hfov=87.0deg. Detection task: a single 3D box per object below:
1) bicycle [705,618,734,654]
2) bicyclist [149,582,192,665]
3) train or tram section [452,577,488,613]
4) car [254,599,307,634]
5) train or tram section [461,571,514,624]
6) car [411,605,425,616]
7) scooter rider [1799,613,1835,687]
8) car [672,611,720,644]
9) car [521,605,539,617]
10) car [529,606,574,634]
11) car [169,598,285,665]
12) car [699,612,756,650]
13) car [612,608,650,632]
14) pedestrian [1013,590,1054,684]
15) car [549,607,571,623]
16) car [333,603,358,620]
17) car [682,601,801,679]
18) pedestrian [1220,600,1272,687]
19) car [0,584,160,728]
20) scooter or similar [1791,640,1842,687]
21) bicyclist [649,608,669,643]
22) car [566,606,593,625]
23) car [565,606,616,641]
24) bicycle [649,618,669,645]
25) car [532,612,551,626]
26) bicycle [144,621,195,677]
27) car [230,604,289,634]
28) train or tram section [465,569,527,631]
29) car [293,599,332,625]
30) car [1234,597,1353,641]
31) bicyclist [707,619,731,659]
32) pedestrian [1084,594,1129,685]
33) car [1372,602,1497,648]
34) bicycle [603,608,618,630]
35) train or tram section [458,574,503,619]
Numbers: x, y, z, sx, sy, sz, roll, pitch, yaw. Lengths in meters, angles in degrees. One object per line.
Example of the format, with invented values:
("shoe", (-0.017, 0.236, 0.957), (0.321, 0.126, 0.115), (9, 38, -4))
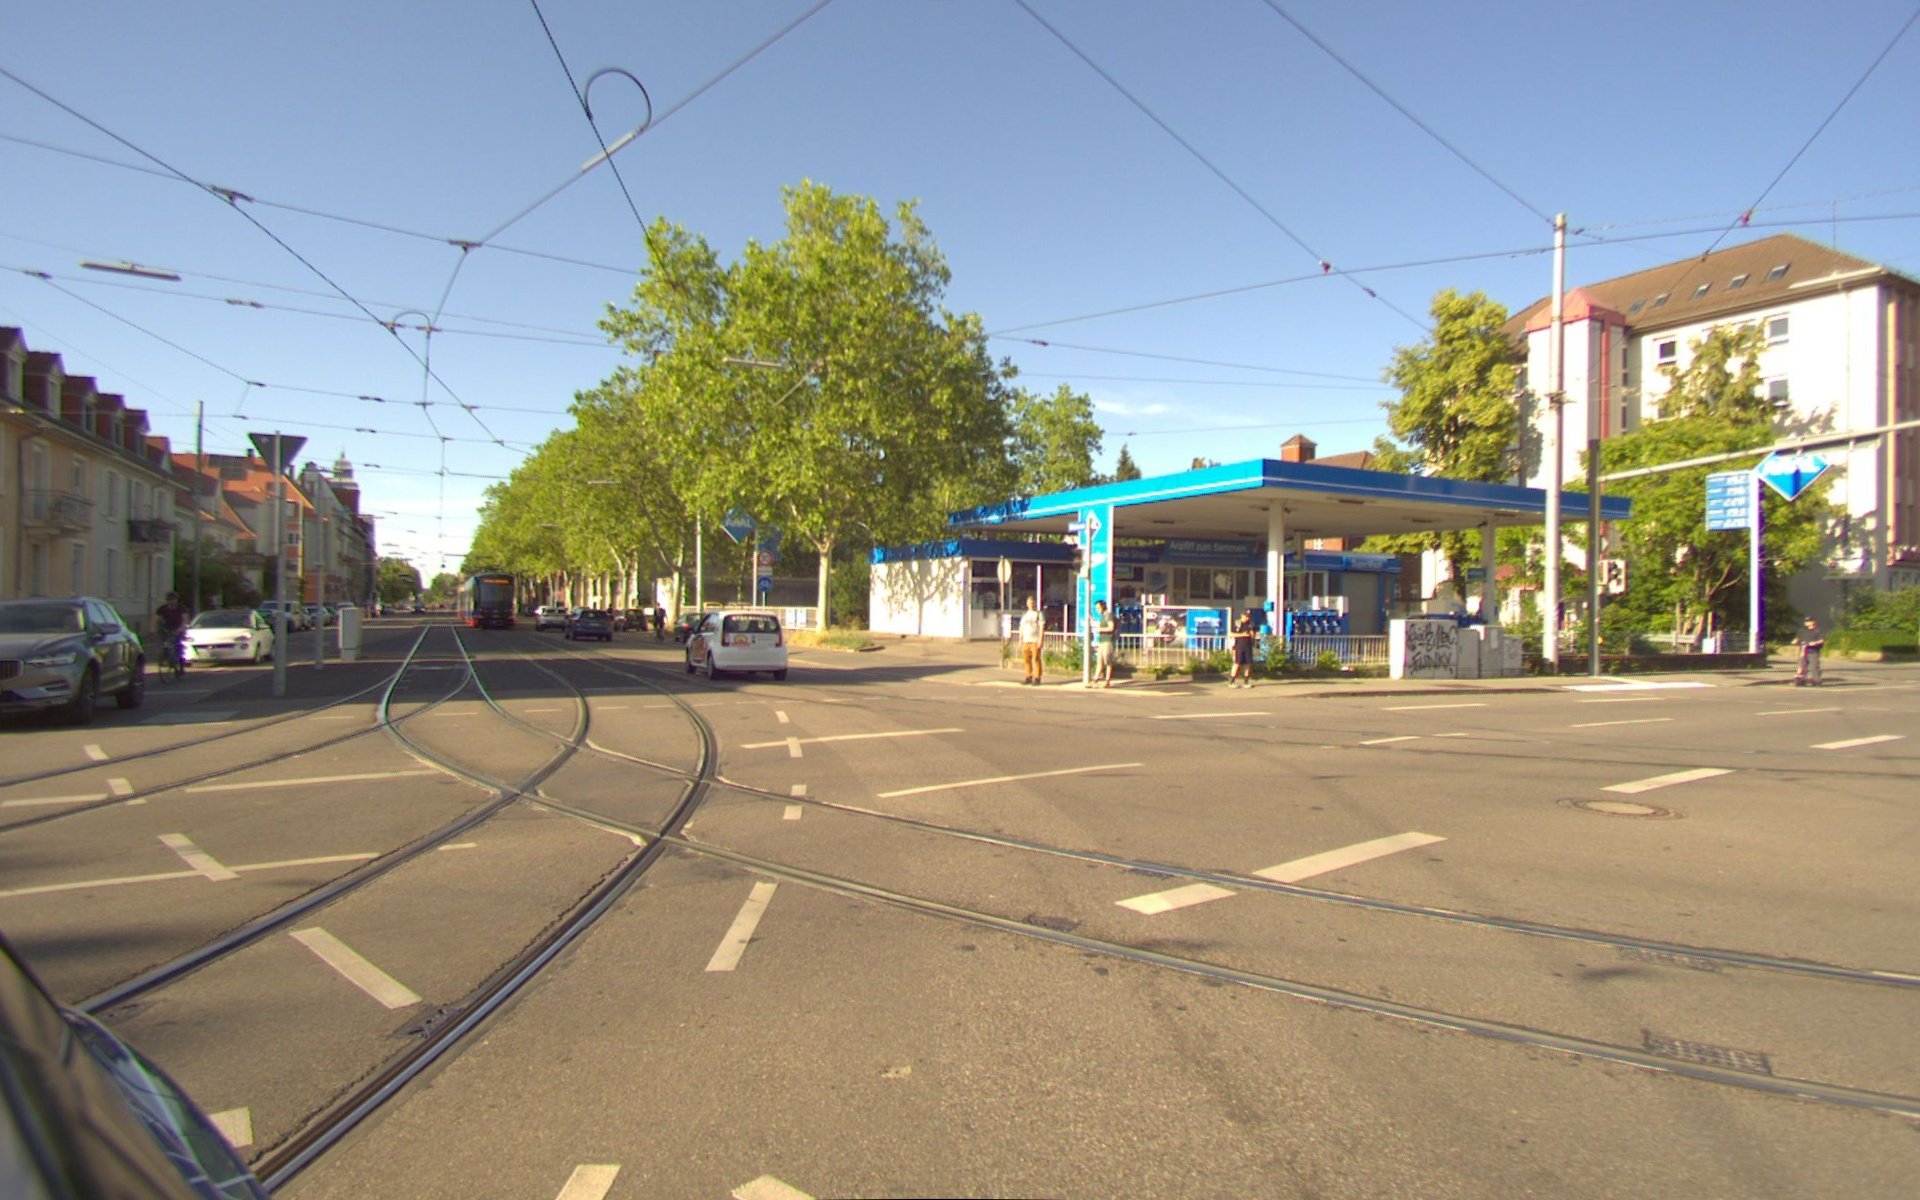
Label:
("bicycle", (-8.410, 1.254, 35.296), (0.478, 1.174, 1.964), (2, 0, -28))
("bicyclist", (-16.662, 0.488, 21.363), (0.590, 1.732, 0.664), (2, 0, -31))
("train or tram section", (-52.879, -0.576, 109.045), (3.012, 3.640, 11.989), (2, 0, -28))
("car", (-39.953, 0.942, 59.612), (1.901, 1.859, 5.331), (2, 0, -26))
("train or tram section", (-35.967, -0.188, 76.715), (3.012, 3.640, 12.543), (2, 0, -27))
("car", (-85.975, 1.661, 160.450), (1.851, 1.497, 4.013), (2, 0, -29))
("scooter rider", (22.736, 1.315, 26.847), (0.680, 1.915, 0.466), (2, 0, -26))
("car", (-12.874, 1.314, 49.289), (1.750, 1.435, 3.322), (-2, 1, -23))
("car", (-60.701, 1.593, 142.776), (1.851, 1.563, 4.012), (2, 0, -30))
("car", (-25.070, 1.195, 62.025), (1.965, 1.508, 4.361), (4, -1, -28))
("car", (-19.993, 0.808, 27.802), (1.886, 1.643, 4.517), (2, 0, -27))
("car", (-10.028, 1.280, 43.519), (1.750, 1.435, 3.550), (-2, 1, -23))
("car", (-21.865, 1.319, 67.172), (1.851, 1.497, 4.013), (2, 0, -26))
("pedestrian", (1.555, 0.773, 21.448), (0.620, 1.940, 0.586), (2, 0, -27))
("car", (-41.742, 1.573, 105.609), (1.851, 1.563, 4.013), (2, 0, -26))
("car", (-59.309, 1.116, 97.697), (1.851, 1.497, 4.013), (2, 0, -29))
("car", (-4.838, 0.817, 22.046), (1.693, 1.508, 3.595), (2, 0, -26))
("pedestrian", (5.925, 0.877, 20.995), (0.735, 1.742, 0.735), (-1, 0, -12))
("car", (-12.415, 0.631, 13.555), (1.886, 1.643, 4.517), (2, 0, -29))
("scooter or similar", (22.734, 1.683, 26.856), (1.451, 1.191, 0.466), (2, 0, -26))
("bicyclist", (-13.924, 1.169, 46.863), (0.686, 1.583, 0.894), (2, 0, -27))
("car", (-33.641, 1.369, 89.413), (1.851, 1.588, 4.013), (2, 0, -26))
("car", (-17.367, 1.063, 47.442), (1.748, 1.508, 4.588), (2, 0, -25))
("bicycle", (-13.937, 1.432, 46.786), (0.478, 1.174, 2.063), (2, 0, -27))
("car", (-49.713, 2.290, 120.279), (1.851, 1.563, 4.013), (2, 0, -26))
("bicycle", (-16.668, 1.013, 21.372), (0.590, 1.064, 1.996), (2, 0, -31))
("car", (-37.622, 0.981, 54.454), (1.851, 1.497, 4.013), (2, 0, -23))
("train or tram section", (-30.321, -0.017, 65.830), (3.012, 3.640, 12.154), (2, 0, -27))
("car", (-48.739, 0.875, 76.281), (1.901, 1.773, 5.331), (2, 0, -26))
("car", (12.183, 0.698, 36.950), (4.146, 1.497, 1.723), (2, 0, -28))
("bicyclist", (-8.404, 1.336, 35.260), (0.595, 1.350, 0.900), (2, 0, -28))
("pedestrian", (3.007, 0.803, 20.844), (0.731, 1.814, 0.742), (1, 0, -3))
("car", (16.416, 0.860, 35.003), (4.146, 1.497, 1.723), (2, 0, -28))
("bicycle", (-20.234, 1.084, 58.623), (0.478, 1.174, 2.063), (2, 0, -27))
("train or tram section", (-41.649, -0.332, 87.676), (3.012, 3.640, 12.154), (2, 0, -27))
